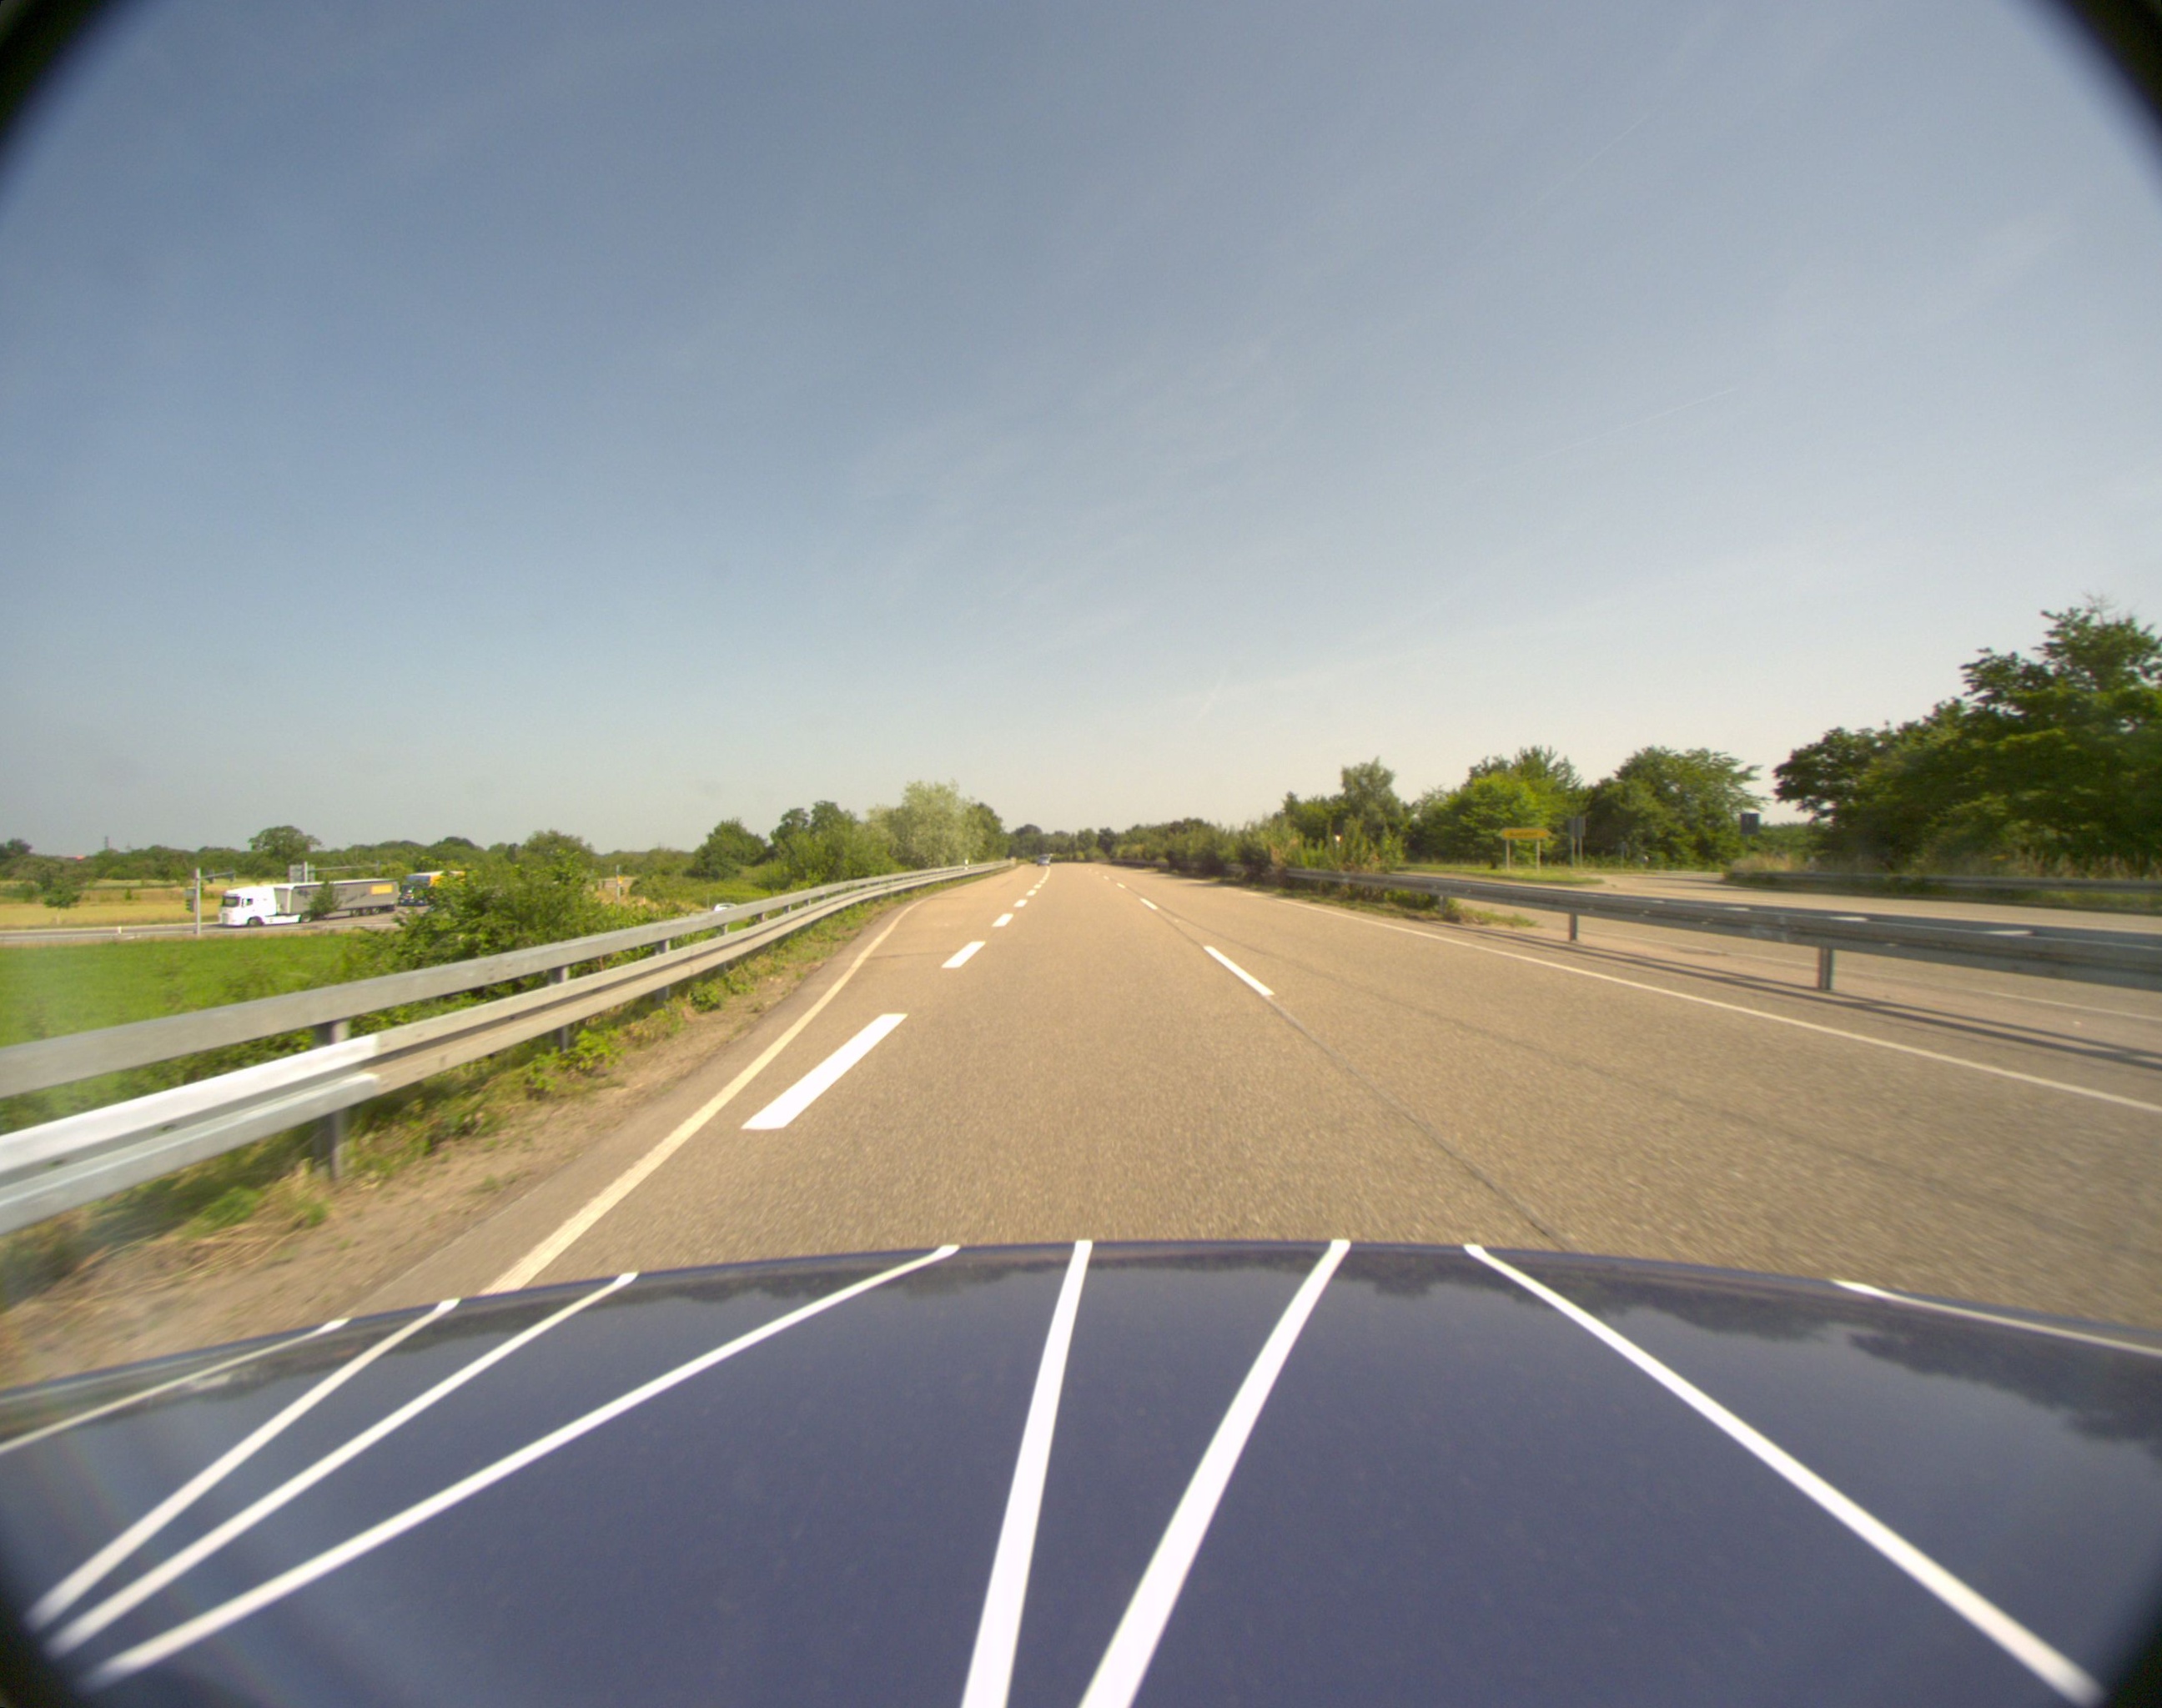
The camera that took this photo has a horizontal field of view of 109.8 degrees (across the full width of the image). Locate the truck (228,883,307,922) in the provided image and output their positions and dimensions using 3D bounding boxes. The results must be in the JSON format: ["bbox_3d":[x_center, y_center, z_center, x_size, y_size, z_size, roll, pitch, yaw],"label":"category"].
[{"bbox_3d":[-81.762,4.821,76.463,2.103,3.656,4.951,-1,0,25],"label":"truck"}]

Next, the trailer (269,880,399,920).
[{"bbox_3d":[-81.459,4.825,83.492,2.108,3.631,13.922,-1,0,-7],"label":"trailer"}]

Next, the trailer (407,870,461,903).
[{"bbox_3d":[-90.259,4.364,106.333,2.265,4.145,14.393,-1,0,-27],"label":"trailer"}]

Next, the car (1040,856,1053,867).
[{"bbox_3d":[-4.947,1.086,109.108,1.703,1.474,3.599,-3,-1,-5],"label":"car"}]

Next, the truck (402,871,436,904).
[{"bbox_3d":[-87.280,4.330,100.231,2.265,4.145,4.362,-1,0,-27],"label":"truck"}]
